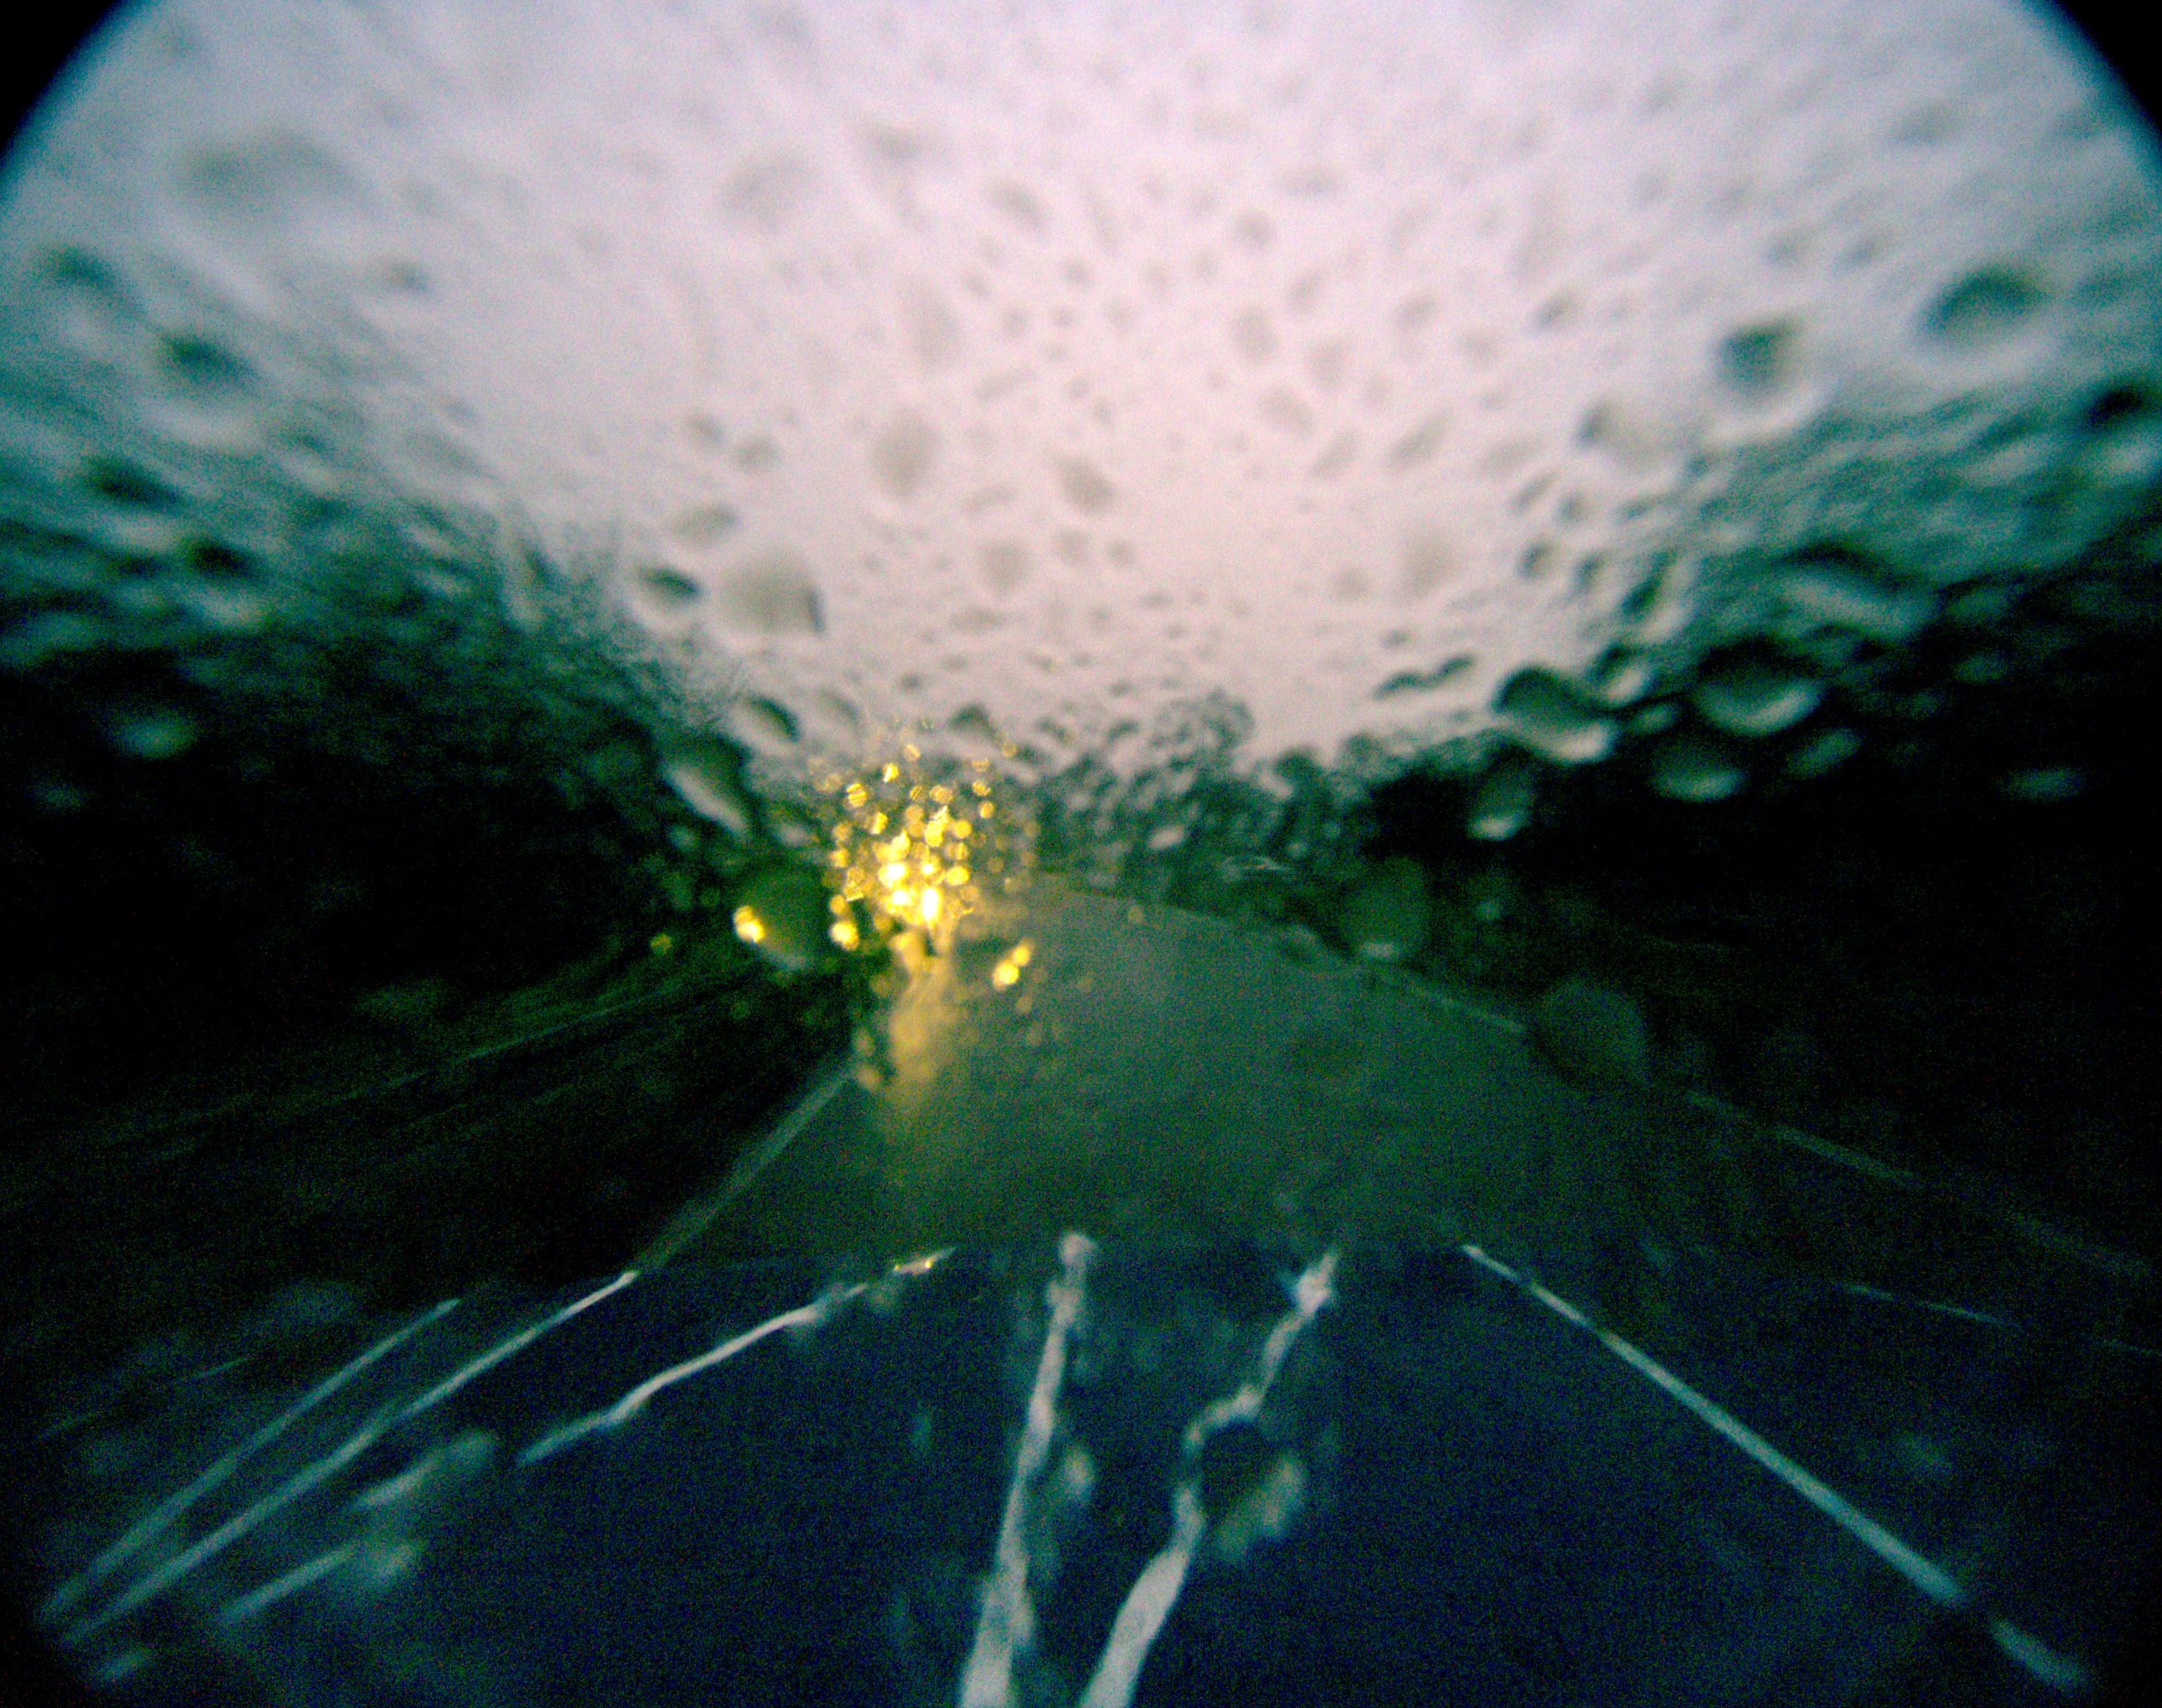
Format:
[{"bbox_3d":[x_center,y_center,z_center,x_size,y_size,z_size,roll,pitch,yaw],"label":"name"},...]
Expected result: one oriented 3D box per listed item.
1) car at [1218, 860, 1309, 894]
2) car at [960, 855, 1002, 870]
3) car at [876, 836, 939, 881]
[{"bbox_3d":[8.741,1.053,36.464,3.863,1.502,1.659,0,0,35],"label":"car"},{"bbox_3d":[-10.285,0.862,78.062,3.989,1.549,2.004,-1,0,34],"label":"car"},{"bbox_3d":[-8.452,0.232,36.763,2.003,2.001,3.955,3,-2,-27],"label":"car"}]
